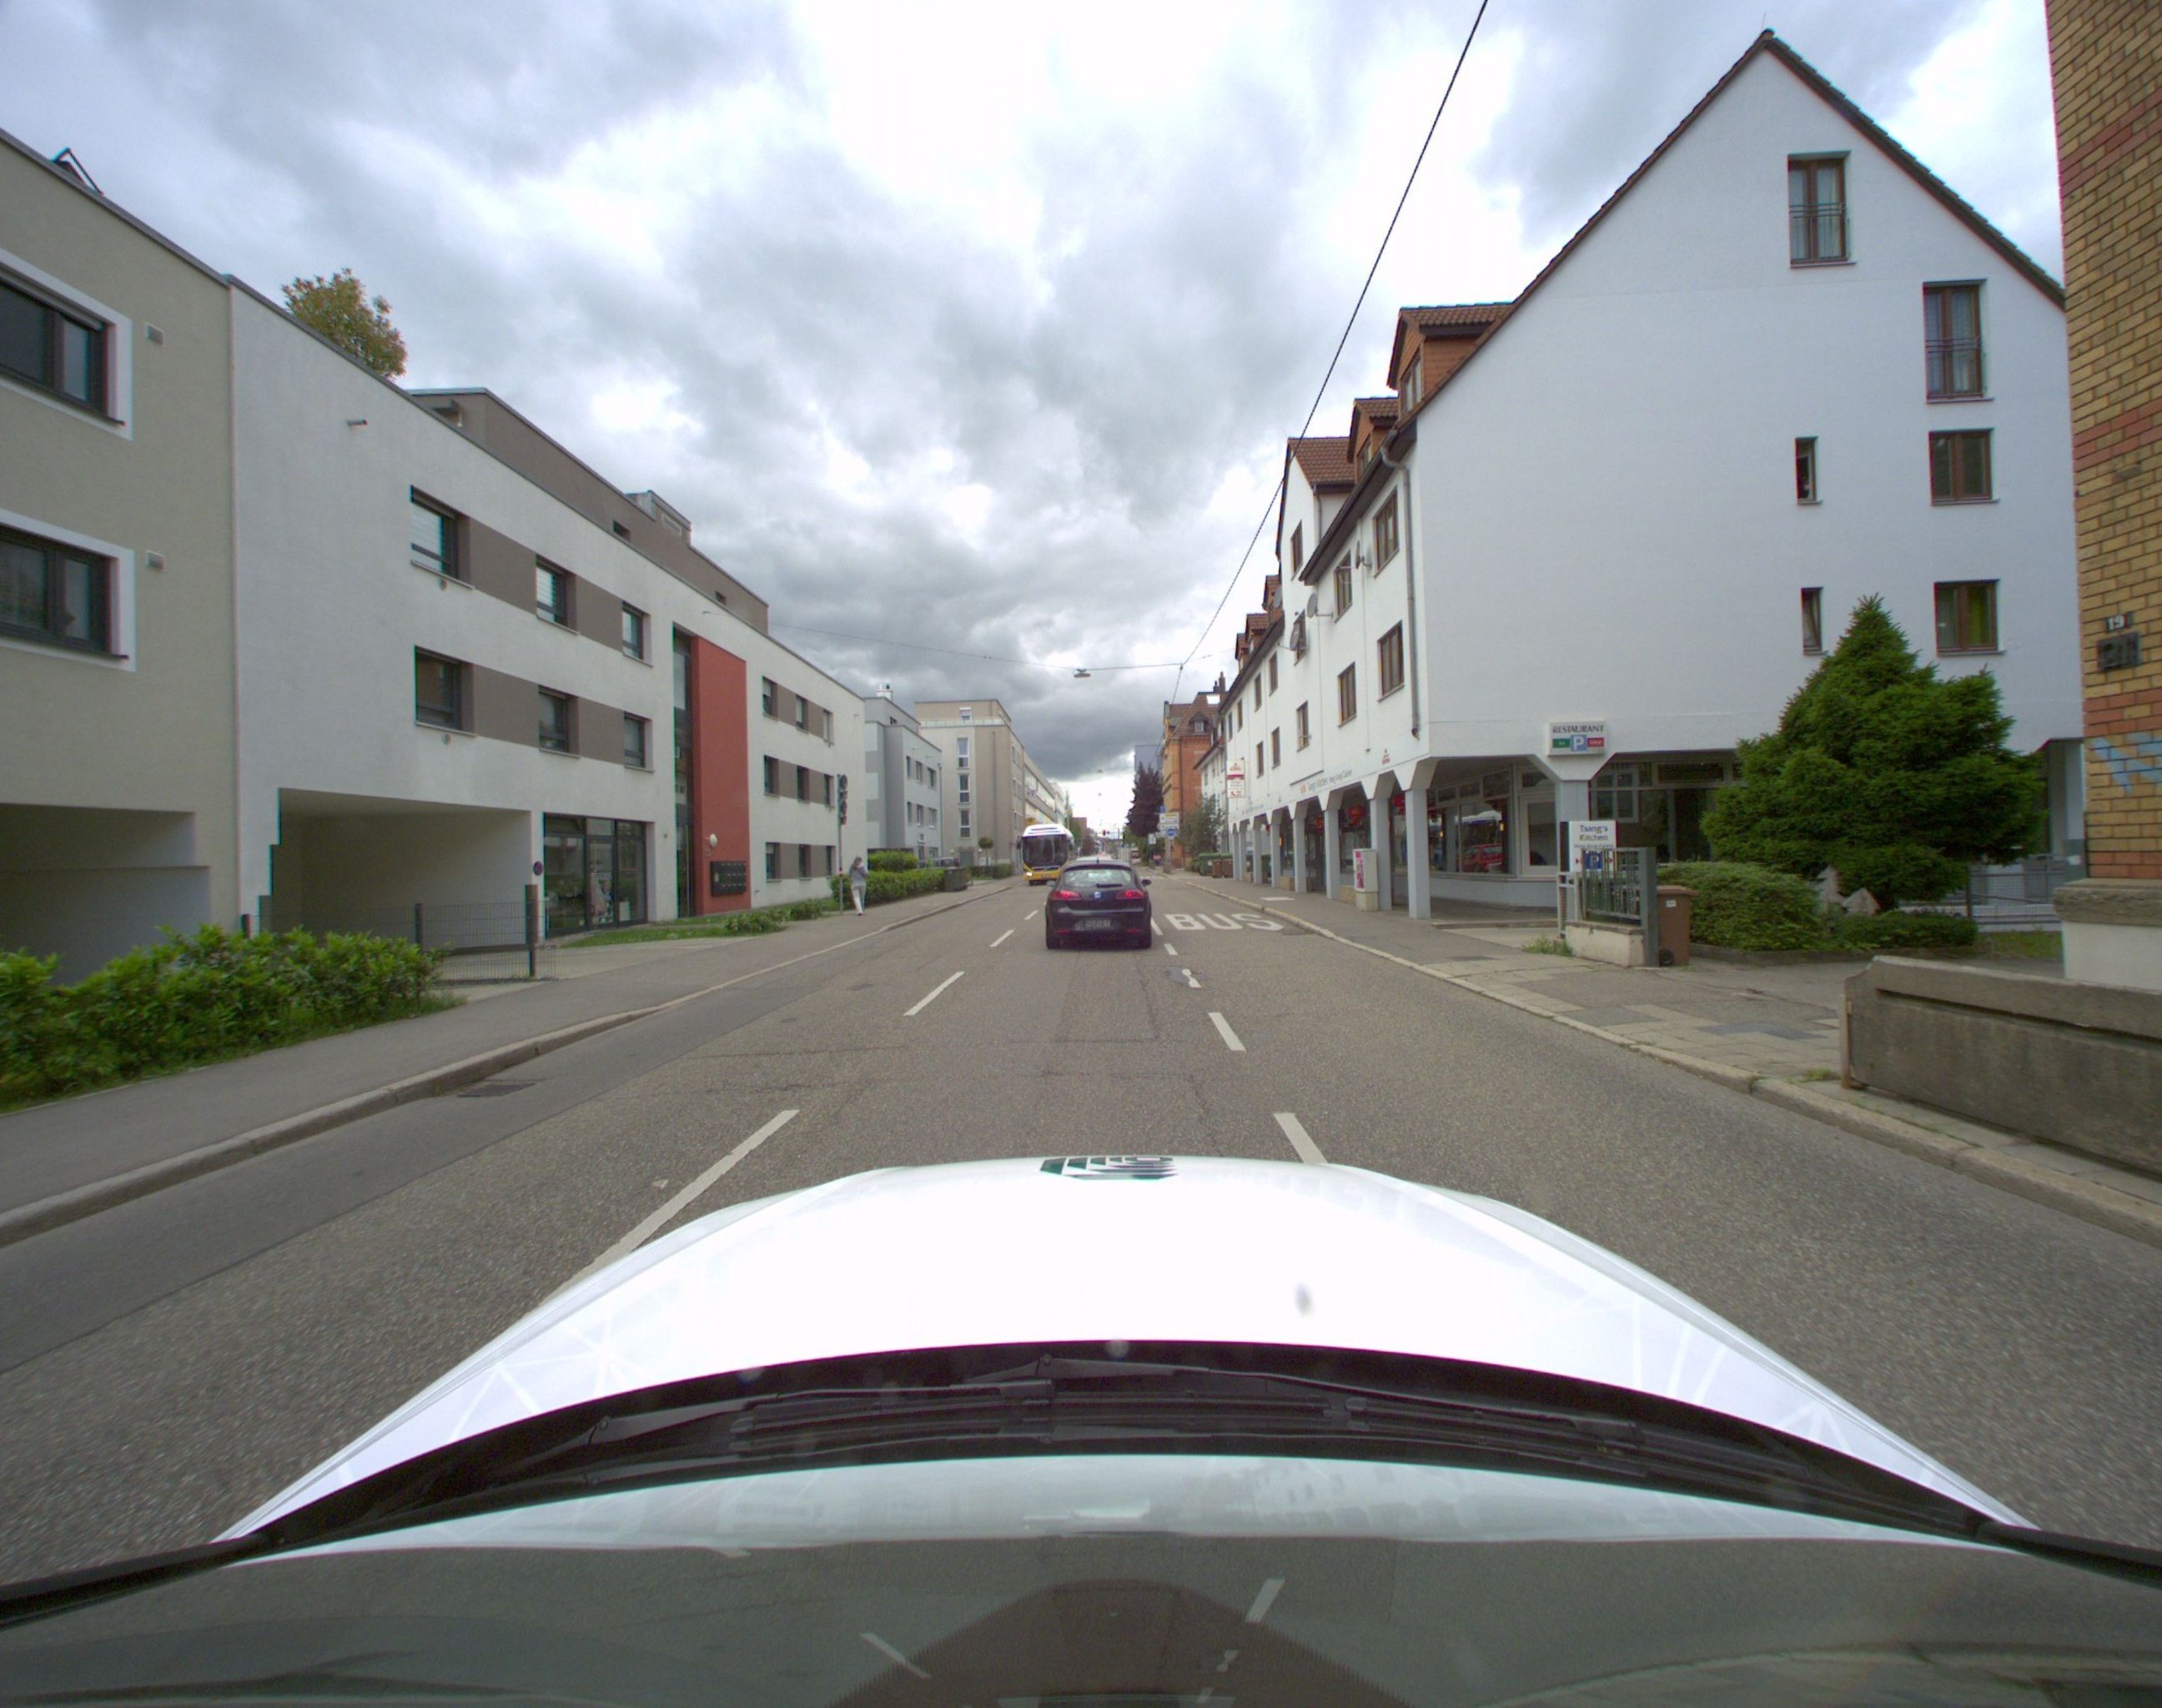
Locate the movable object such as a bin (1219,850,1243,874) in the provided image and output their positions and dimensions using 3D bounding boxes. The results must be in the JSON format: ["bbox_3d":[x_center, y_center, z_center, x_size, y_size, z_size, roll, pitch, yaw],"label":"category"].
[{"bbox_3d":[9.495,0.510,51.671,1.262,1.435,1.308,-1,0,2],"label":"movable object such as a bin"}]

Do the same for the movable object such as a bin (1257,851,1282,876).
[{"bbox_3d":[11.014,0.550,47.627,1.203,1.417,1.261,-1,0,5],"label":"movable object such as a bin"}]

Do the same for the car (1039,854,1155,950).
[{"bbox_3d":[0.306,0.743,14.511,1.759,1.433,3.830,-1,0,2],"label":"car"}]

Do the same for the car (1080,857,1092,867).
[{"bbox_3d":[0.823,1.219,131.255,1.872,1.451,4.215,-4,0,1],"label":"car"}]

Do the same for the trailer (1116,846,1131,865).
[{"bbox_3d":[6.060,0.241,116.186,1.986,2.607,5.350,-2,0,1],"label":"trailer"}]

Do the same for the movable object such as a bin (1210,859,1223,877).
[{"bbox_3d":[8.002,0.812,48.090,0.680,1.067,0.973,-1,0,6],"label":"movable object such as a bin"}]

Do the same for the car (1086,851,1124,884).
[{"bbox_3d":[1.229,0.674,41.904,1.797,1.553,3.738,-2,0,1],"label":"car"}]

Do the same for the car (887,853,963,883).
[{"bbox_3d":[-9.415,0.858,49.207,4.143,1.667,1.727,-2,-1,5],"label":"car"}]

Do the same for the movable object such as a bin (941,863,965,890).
[{"bbox_3d":[-5.764,1.017,36.697,0.954,1.151,0.839,-1,0,-3],"label":"movable object such as a bin"}]

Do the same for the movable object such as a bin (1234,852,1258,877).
[{"bbox_3d":[9.657,0.583,47.676,1.203,1.417,1.261,-1,0,5],"label":"movable object such as a bin"}]

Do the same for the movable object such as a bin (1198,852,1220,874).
[{"bbox_3d":[8.159,0.570,52.012,1.262,1.417,1.163,-1,0,2],"label":"movable object such as a bin"}]

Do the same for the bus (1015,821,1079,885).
[{"bbox_3d":[-1.848,-0.076,49.951,2.931,3.274,12.012,-3,0,2],"label":"bus"}]

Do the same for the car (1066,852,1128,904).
[{"bbox_3d":[0.517,0.707,26.101,1.797,1.492,3.738,-2,0,1],"label":"car"}]

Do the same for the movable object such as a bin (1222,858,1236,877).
[{"bbox_3d":[8.727,0.783,48.046,0.694,1.079,0.973,-1,0,6],"label":"movable object such as a bin"}]

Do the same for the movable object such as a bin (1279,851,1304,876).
[{"bbox_3d":[12.263,0.523,47.552,1.203,1.417,1.261,-1,0,5],"label":"movable object such as a bin"}]

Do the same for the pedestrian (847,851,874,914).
[{"bbox_3d":[-5.893,0.757,21.785,0.639,1.642,0.518,-1,0,-13],"label":"pedestrian"}]

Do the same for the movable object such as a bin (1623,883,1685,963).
[{"bbox_3d":[6.812,0.807,9.694,0.396,0.903,0.456,-2,0,2],"label":"movable object such as a bin"}]

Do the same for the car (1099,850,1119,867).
[{"bbox_3d":[2.550,0.408,75.176,1.797,1.601,3.738,0,0,1],"label":"car"}]

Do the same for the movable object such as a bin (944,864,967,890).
[{"bbox_3d":[-5.788,1.042,37.519,0.946,1.151,0.748,-1,0,-3],"label":"movable object such as a bin"}]

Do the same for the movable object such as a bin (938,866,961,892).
[{"bbox_3d":[-5.778,1.097,35.804,0.892,1.089,0.792,-1,0,-3],"label":"movable object such as a bin"}]

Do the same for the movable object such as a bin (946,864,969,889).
[{"bbox_3d":[-5.790,1.060,38.217,0.938,1.151,0.612,-1,0,-3],"label":"movable object such as a bin"}]

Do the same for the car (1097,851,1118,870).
[{"bbox_3d":[2.361,0.570,73.533,1.797,1.553,3.738,-2,0,1],"label":"car"}]

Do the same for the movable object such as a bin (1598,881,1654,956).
[{"bbox_3d":[6.886,0.801,10.301,0.396,0.903,0.456,-2,0,2],"label":"movable object such as a bin"}]
